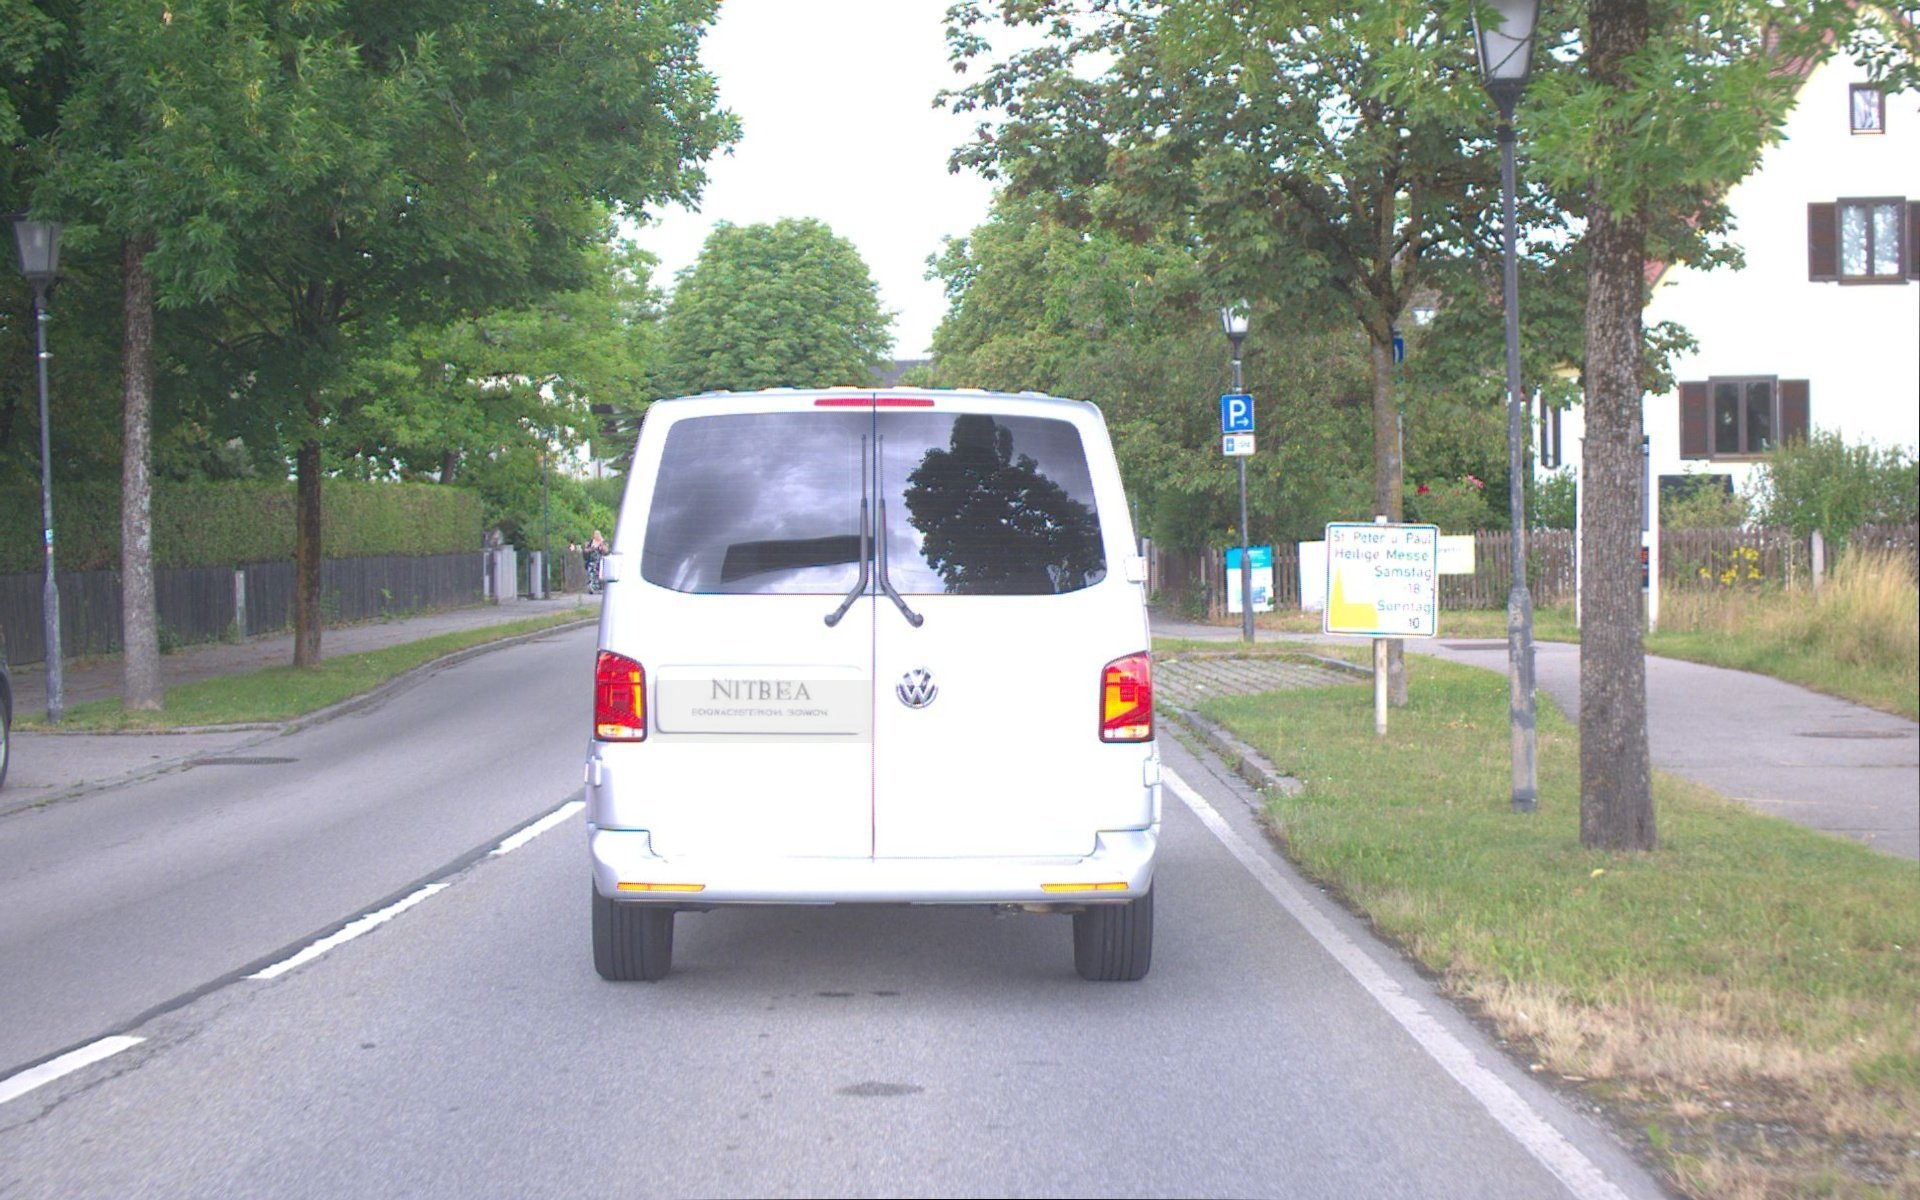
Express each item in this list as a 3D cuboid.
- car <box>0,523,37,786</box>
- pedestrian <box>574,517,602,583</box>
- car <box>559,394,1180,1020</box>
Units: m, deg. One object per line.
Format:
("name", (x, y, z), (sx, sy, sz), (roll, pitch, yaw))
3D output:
("car", (-6.748, 0.375, 19.626), (1.771, 1.592, 4.238), (0, 2, 1))
("pedestrian", (-8.792, -1.178, 81.299), (0.622, 1.544, 0.522), (1, 1, -3))
("car", (-0.280, 0.290, 12.495), (1.888, 1.905, 4.000), (0, 1, 0))
